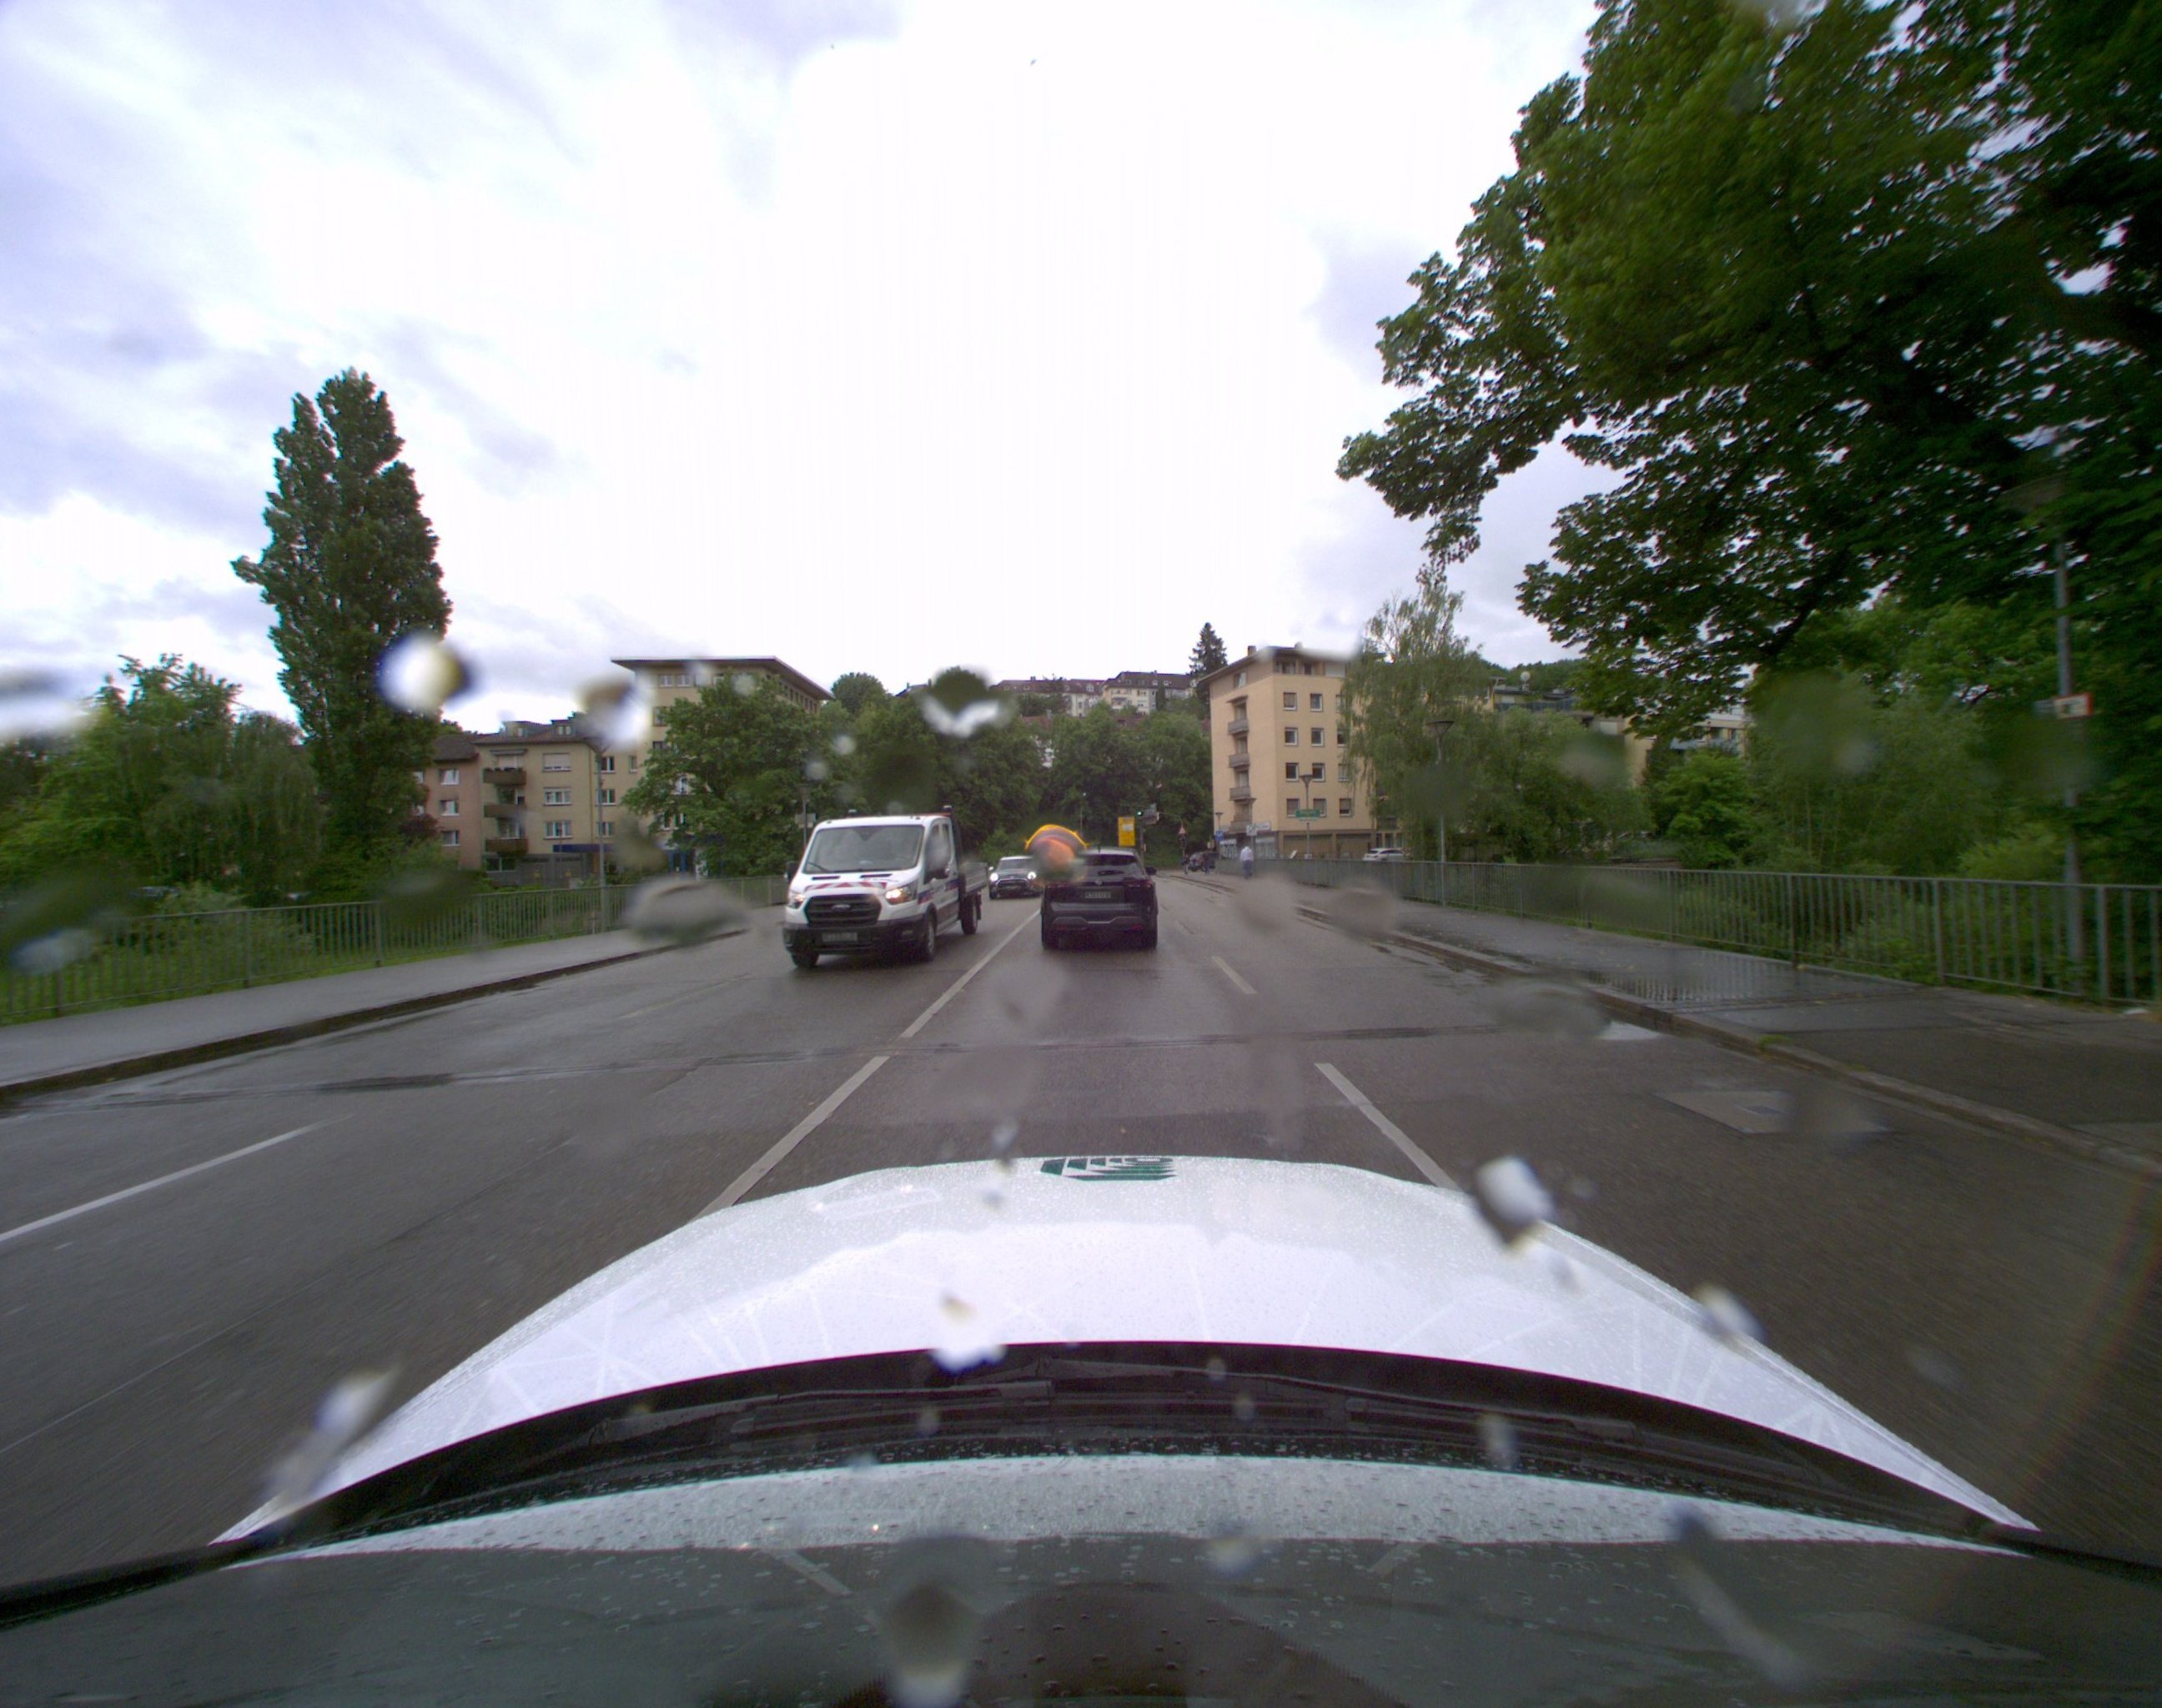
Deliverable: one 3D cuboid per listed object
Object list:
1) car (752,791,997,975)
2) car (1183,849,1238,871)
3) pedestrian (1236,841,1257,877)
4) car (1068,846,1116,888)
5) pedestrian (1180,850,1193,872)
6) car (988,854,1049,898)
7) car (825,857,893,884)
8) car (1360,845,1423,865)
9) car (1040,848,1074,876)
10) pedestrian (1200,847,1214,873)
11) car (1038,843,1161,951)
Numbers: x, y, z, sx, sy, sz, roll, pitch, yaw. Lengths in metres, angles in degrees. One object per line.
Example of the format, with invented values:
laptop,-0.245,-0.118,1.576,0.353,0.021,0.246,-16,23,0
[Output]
car,-3.054,0.346,13.974,2.281,2.308,6.511,-3,1,1
car,11.166,0.485,70.311,4.387,1.649,1.868,-3,-1,-24
pedestrian,8.139,0.247,40.019,0.777,1.752,1.061,-2,-1,1
car,0.479,0.488,33.000,1.804,1.603,4.002,0,0,2
pedestrian,8.016,0.550,61.975,0.859,1.619,0.840,-3,-1,1
car,-2.229,0.747,29.864,1.739,1.439,4.002,-2,0,2
car,-17.140,1.279,63.120,4.738,1.854,1.995,-1,1,-7
car,24.839,0.090,65.162,4.447,1.376,1.808,-2,2,-15
car,-1.587,0.538,55.012,1.881,1.735,4.373,-3,0,2
pedestrian,8.515,0.386,55.053,0.758,1.677,0.781,-4,0,1
car,0.335,0.632,14.115,1.804,1.603,4.002,-1,0,2
